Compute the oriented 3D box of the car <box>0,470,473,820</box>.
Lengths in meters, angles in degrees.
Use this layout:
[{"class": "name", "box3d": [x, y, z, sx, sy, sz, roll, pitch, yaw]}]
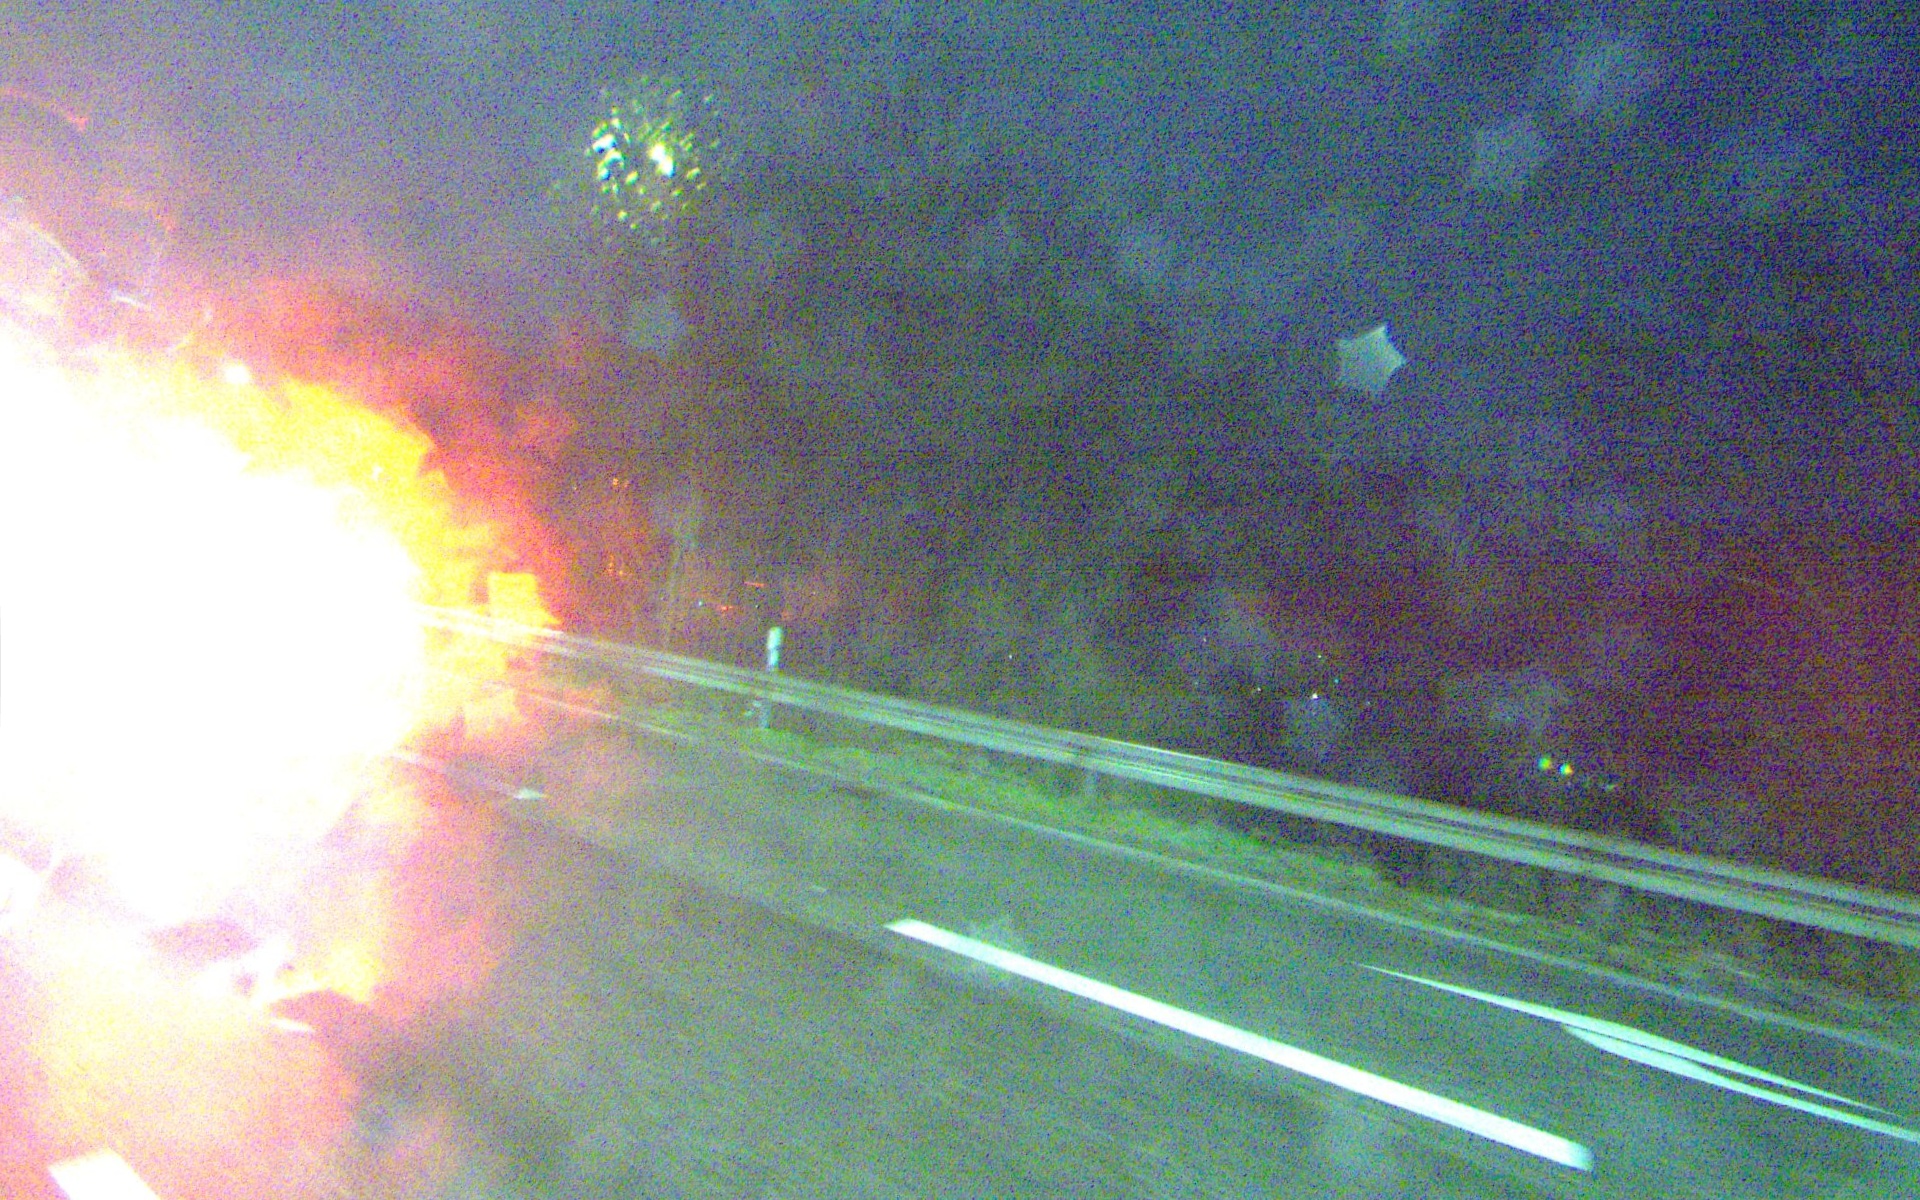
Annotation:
[{"class": "car", "box3d": [-5.132, 0.153, 6.391, 3.713, 1.582, 1.744, 7, -3, 30]}]
